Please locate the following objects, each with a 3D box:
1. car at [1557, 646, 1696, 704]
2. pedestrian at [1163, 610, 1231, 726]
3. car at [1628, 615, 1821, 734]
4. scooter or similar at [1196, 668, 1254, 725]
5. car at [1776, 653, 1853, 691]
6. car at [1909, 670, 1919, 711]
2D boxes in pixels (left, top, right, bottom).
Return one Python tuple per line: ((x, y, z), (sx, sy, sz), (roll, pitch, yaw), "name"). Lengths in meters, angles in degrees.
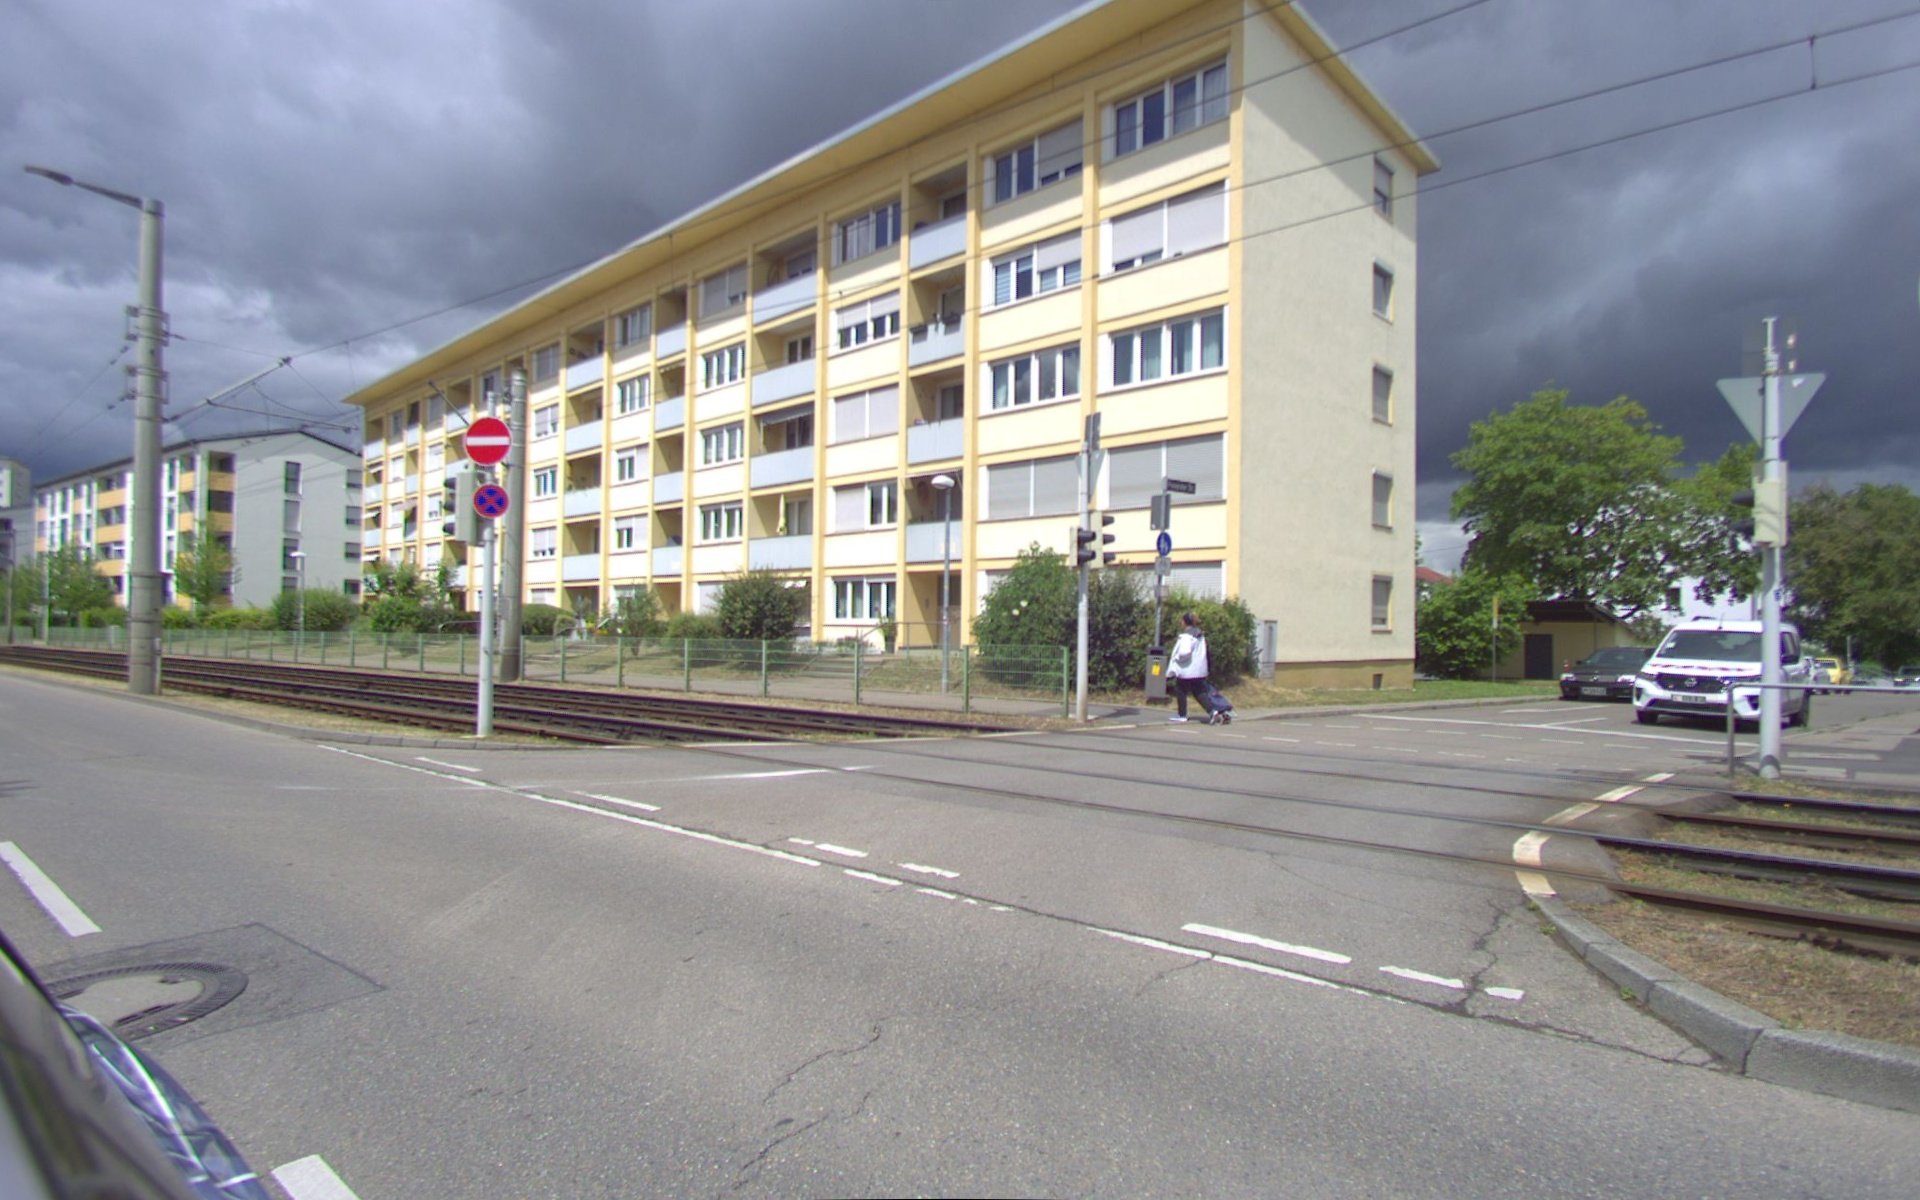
((15.932, 1.731, 24.125), (3.939, 1.180, 1.923), (2, -2, -43), "car")
((3.449, 0.973, 14.712), (0.773, 1.620, 0.597), (-1, -3, 41), "pedestrian")
((12.878, 1.147, 16.949), (4.225, 1.742, 1.812), (2, -2, -42), "car")
((3.899, 1.404, 14.871), (0.665, 0.779, 0.527), (-1, -3, 41), "scooter or similar")
((34.041, 2.836, 40.291), (3.939, 1.304, 1.923), (2, -2, -43), "car")
((50.423, 4.670, 51.951), (3.937, 2.029, 2.003), (4, -3, -40), "car")
